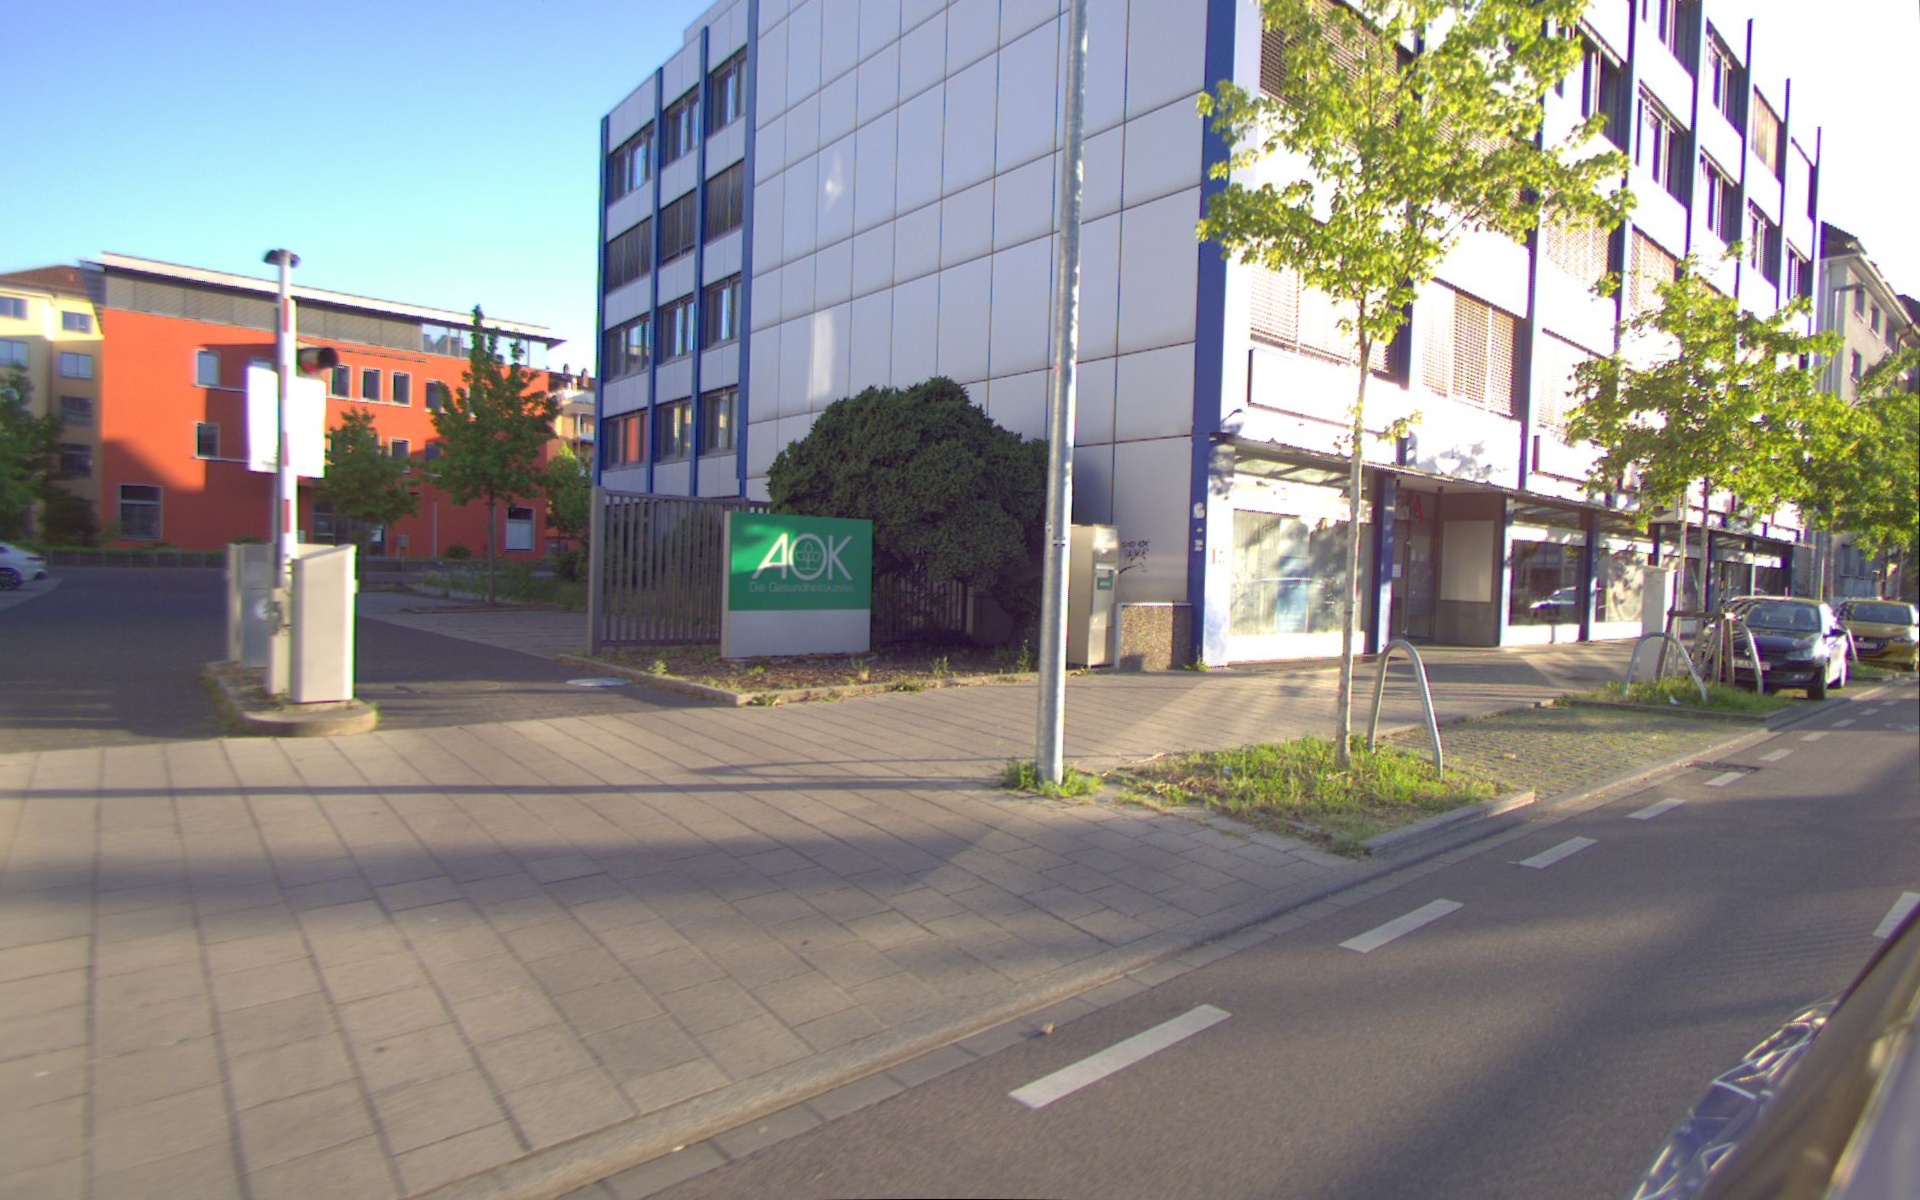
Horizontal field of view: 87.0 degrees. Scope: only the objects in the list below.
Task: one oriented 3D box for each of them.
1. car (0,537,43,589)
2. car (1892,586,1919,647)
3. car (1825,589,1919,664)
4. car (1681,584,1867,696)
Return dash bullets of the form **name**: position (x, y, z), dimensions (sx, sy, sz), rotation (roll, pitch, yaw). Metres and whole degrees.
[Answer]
- **car**: position (-32.811, -1.249, 33.121), dimensions (4.055, 1.684, 1.824), rotation (0, 3, -40)
- **car**: position (28.010, 0.506, 28.694), dimensions (4.728, 1.585, 1.823), rotation (0, 6, -43)
- **car**: position (20.717, 0.536, 22.486), dimensions (4.058, 1.472, 1.687), rotation (0, 3, -42)
- **car**: position (13.040, 0.526, 16.123), dimensions (4.061, 1.472, 1.821), rotation (0, 3, -45)
